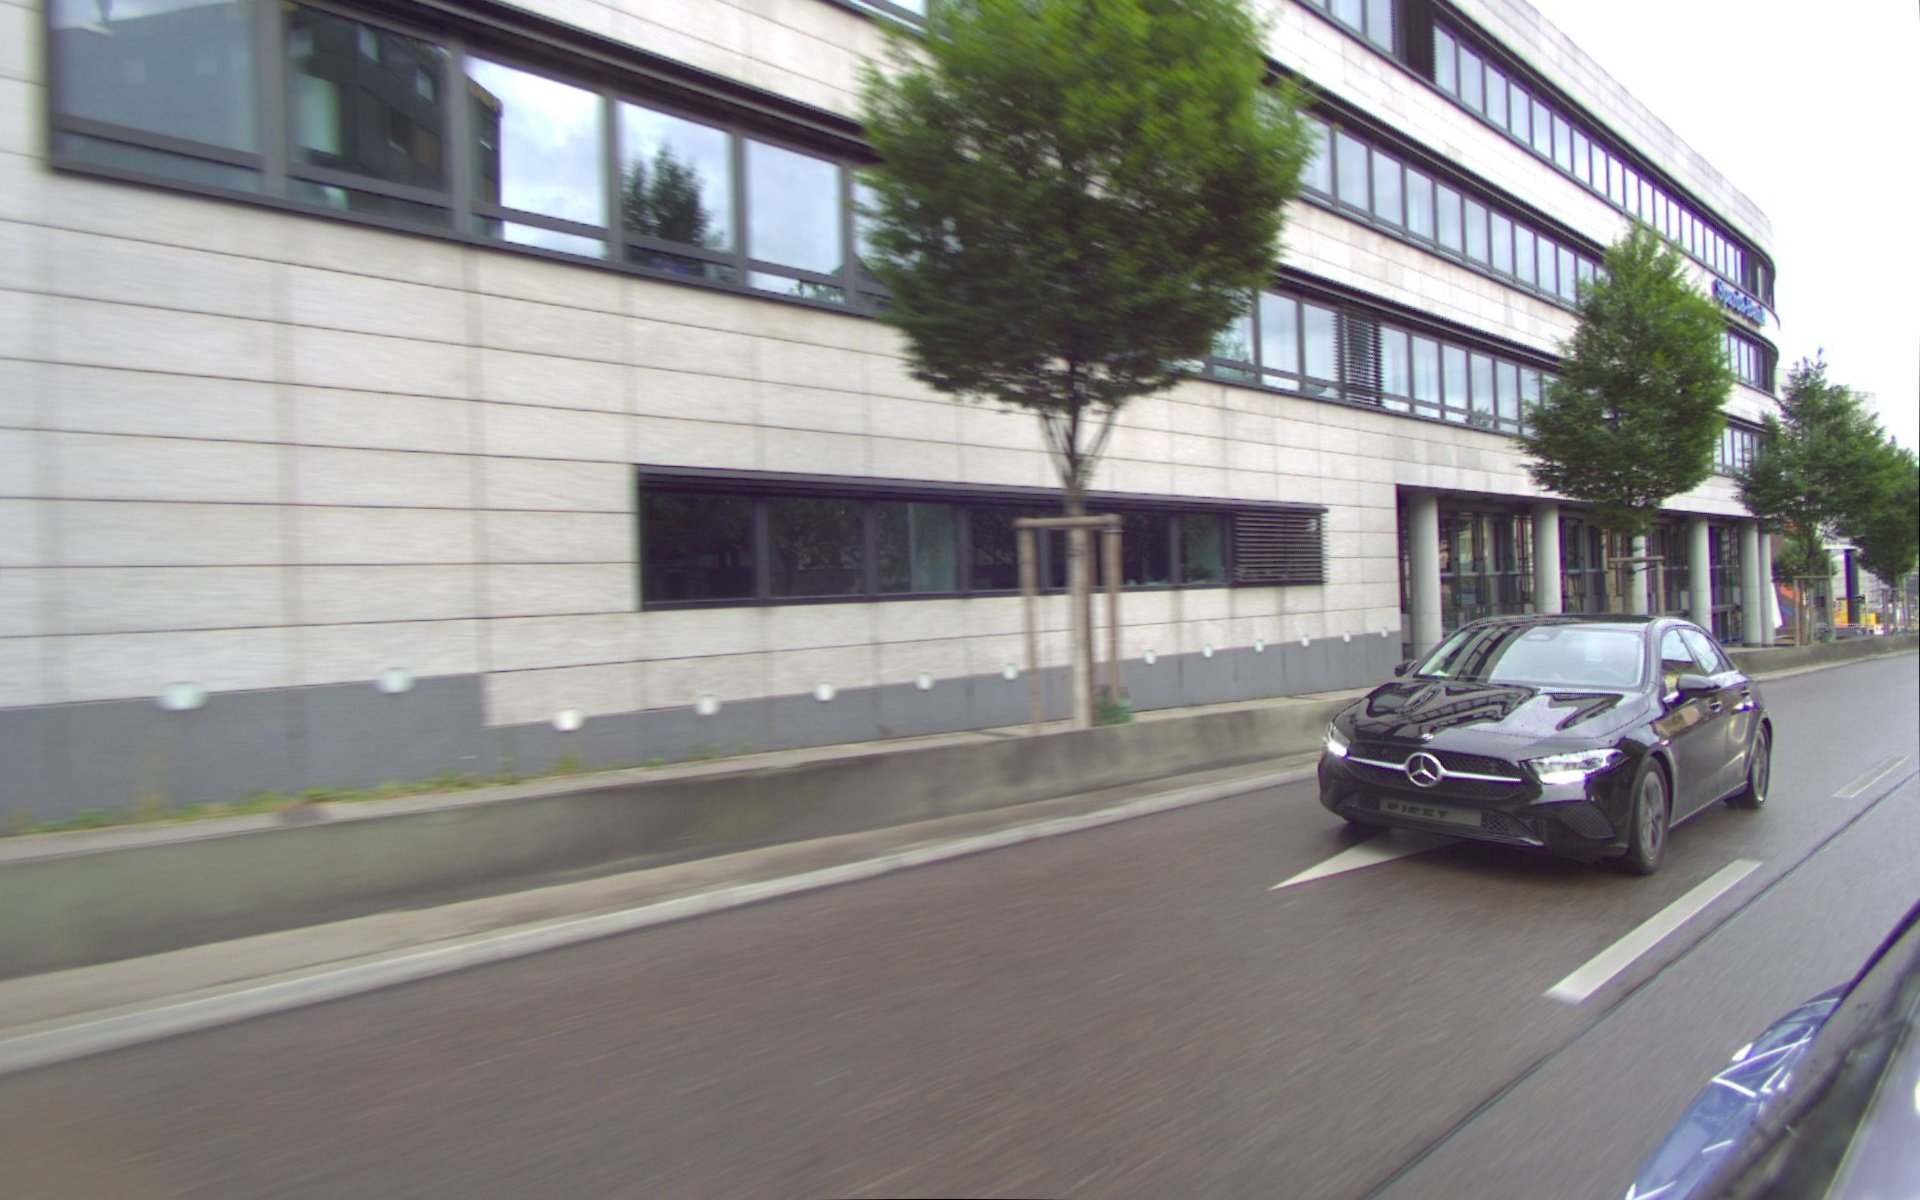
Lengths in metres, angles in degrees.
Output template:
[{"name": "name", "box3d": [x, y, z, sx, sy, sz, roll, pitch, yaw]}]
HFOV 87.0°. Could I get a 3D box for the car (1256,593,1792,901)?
[{"name": "car", "box3d": [3.990, 0.711, 6.866, 4.131, 1.455, 1.876, 0, -1, -41]}]
